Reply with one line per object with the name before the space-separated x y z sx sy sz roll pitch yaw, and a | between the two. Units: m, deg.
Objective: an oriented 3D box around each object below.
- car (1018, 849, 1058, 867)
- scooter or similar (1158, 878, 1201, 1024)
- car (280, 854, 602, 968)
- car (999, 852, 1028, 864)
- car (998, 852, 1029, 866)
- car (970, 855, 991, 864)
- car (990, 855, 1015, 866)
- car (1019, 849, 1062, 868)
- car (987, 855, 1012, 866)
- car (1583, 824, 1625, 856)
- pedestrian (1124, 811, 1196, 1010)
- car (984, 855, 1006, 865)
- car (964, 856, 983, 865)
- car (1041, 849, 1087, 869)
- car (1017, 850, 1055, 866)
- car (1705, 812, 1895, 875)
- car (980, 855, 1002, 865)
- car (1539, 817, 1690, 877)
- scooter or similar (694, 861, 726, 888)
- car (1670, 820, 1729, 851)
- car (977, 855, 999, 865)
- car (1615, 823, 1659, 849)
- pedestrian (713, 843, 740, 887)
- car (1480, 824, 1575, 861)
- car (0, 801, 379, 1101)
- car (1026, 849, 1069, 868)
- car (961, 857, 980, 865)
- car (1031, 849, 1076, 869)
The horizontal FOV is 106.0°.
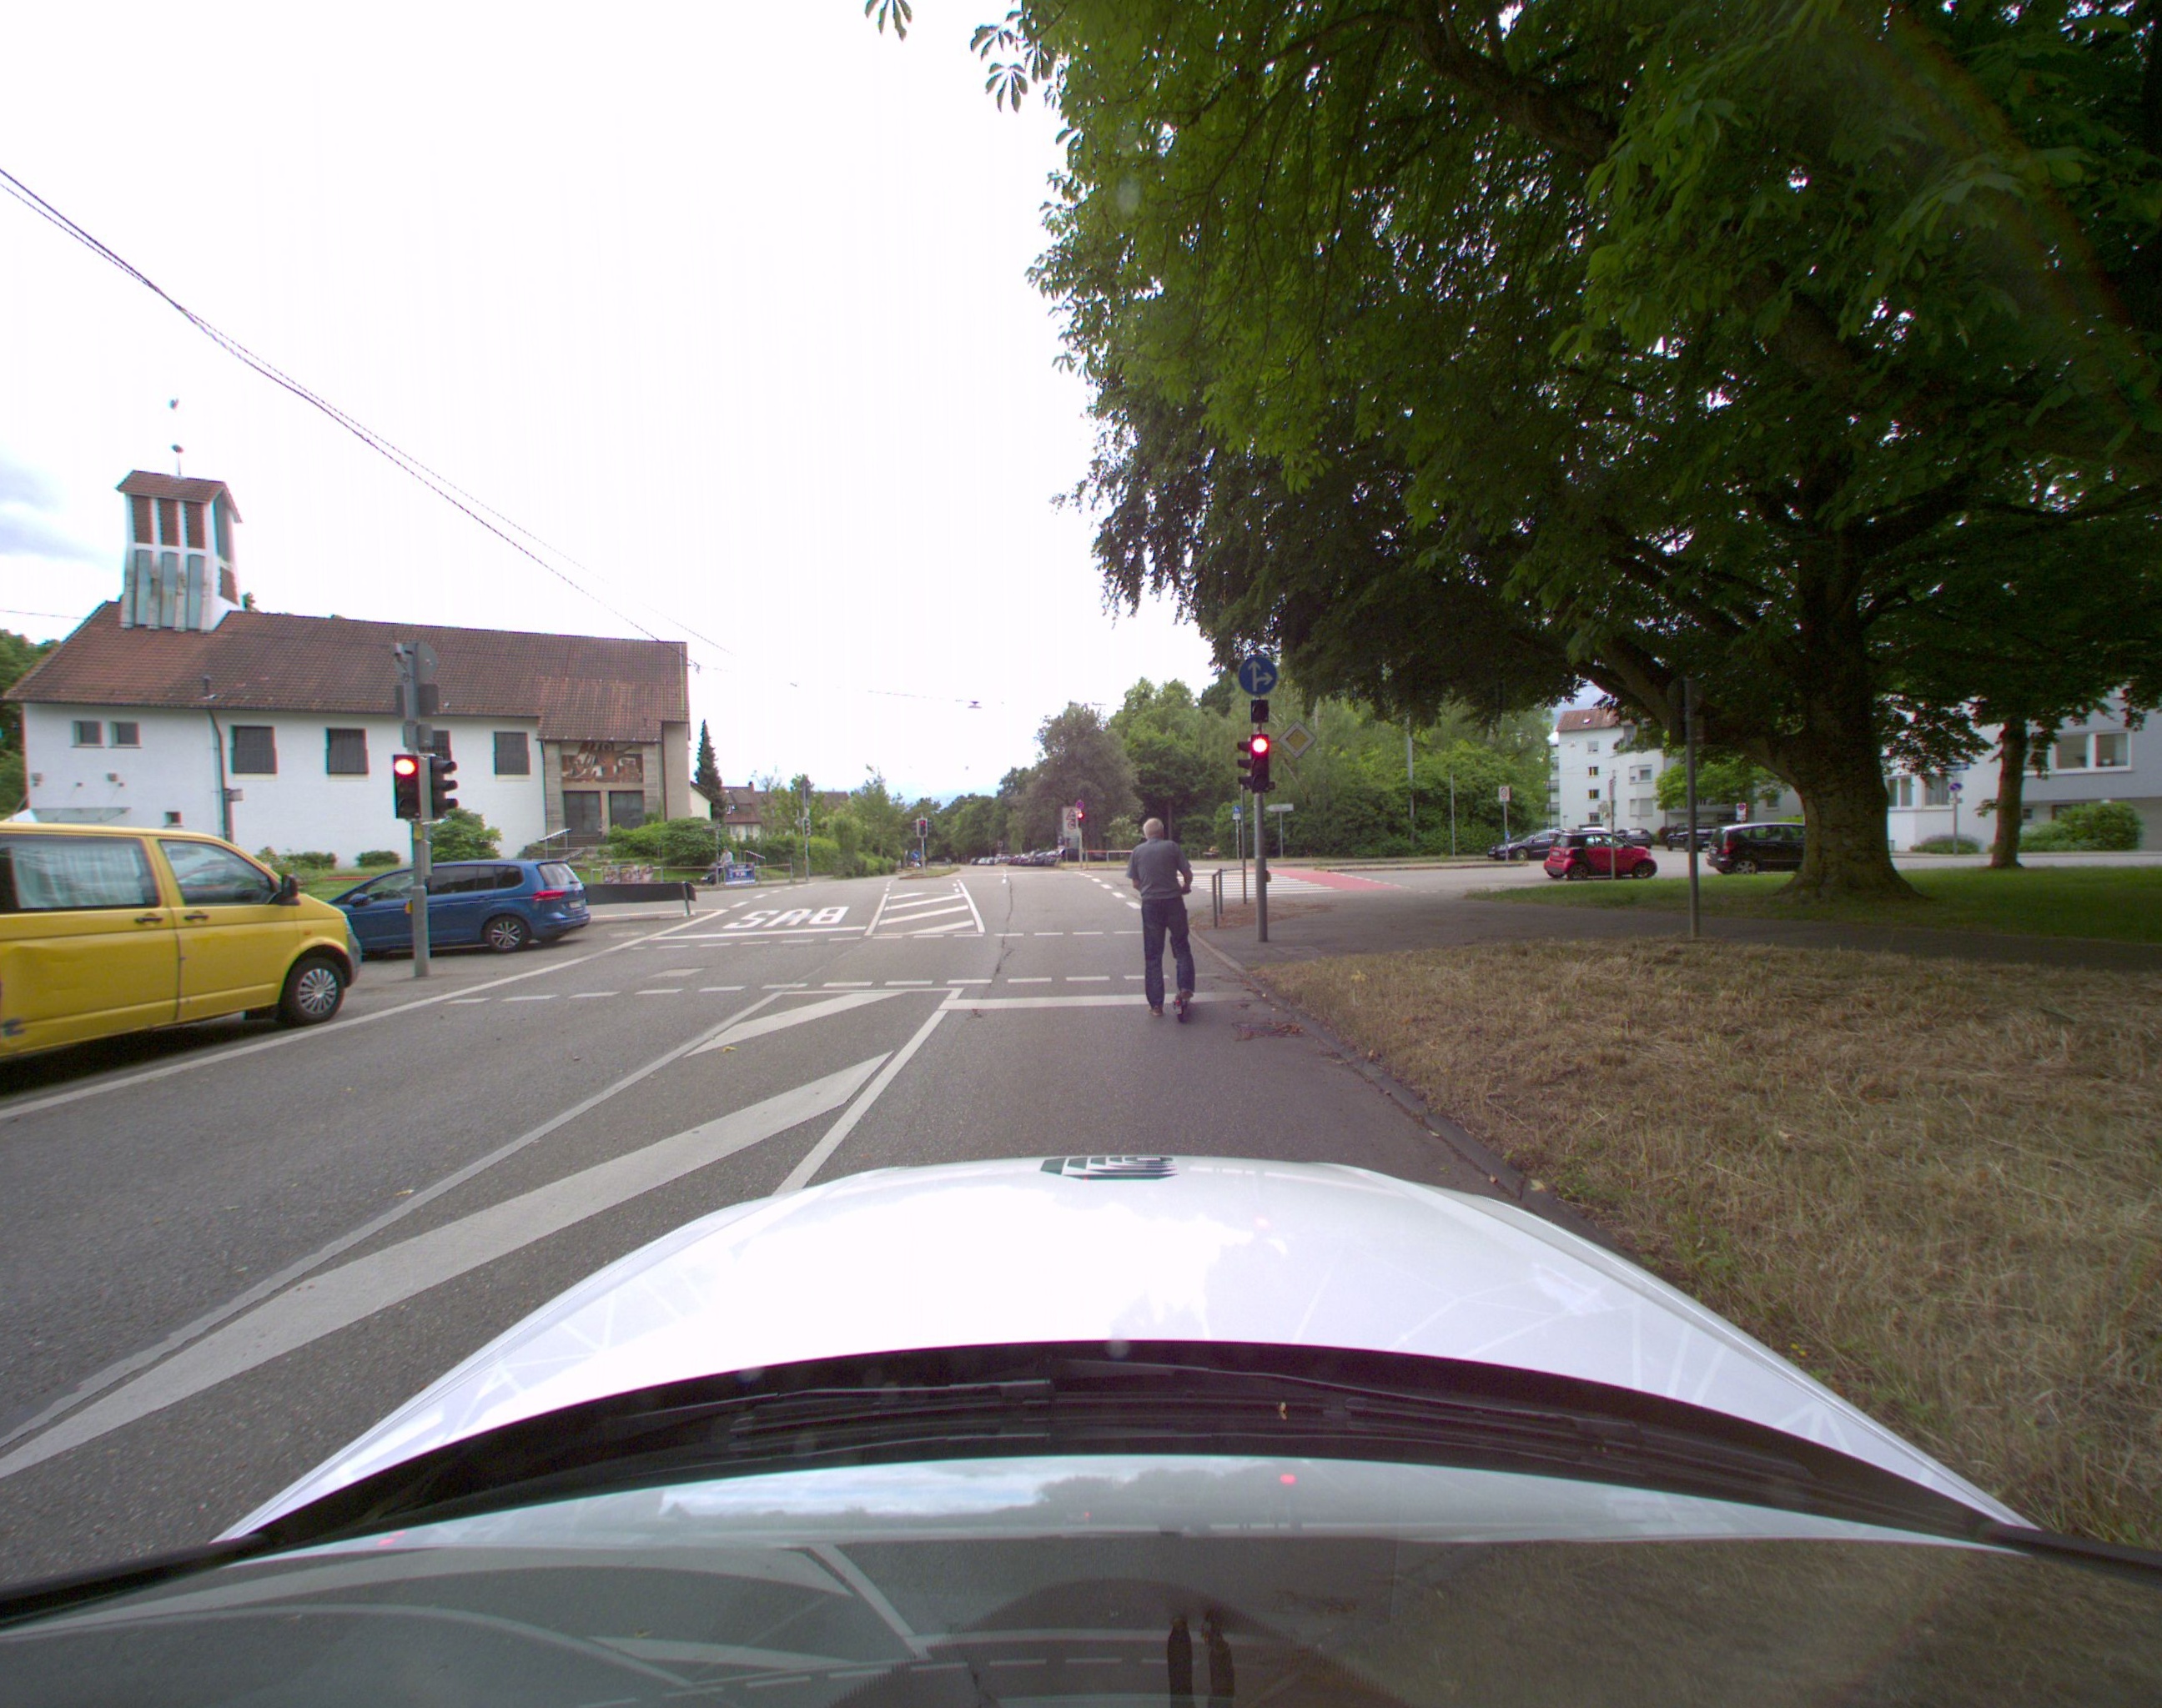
car | -4.609 0.425 86.952 3.856 1.610 1.716 -3 0 -21
scooter or similar | 0.918 0.841 7.494 0.280 1.178 1.180 -2 0 10
car | -11.065 0.916 14.424 3.992 1.610 1.810 -3 0 -14
car | -10.138 0.634 122.352 3.856 1.610 1.716 -3 0 -21
car | -9.063 0.681 109.348 3.856 1.610 1.716 -3 0 -21
car | -20.518 1.153 166.576 3.856 1.610 1.716 -3 0 -21
car | -13.405 1.134 139.637 3.856 1.610 1.716 -3 0 -21
car | -4.057 0.448 81.621 3.856 1.610 1.716 -3 0 -21
car | -14.345 1.142 143.337 3.856 1.610 1.716 -3 0 -21
car | 28.782 -0.788 44.896 1.706 1.610 3.878 -3 1 30
pedestrian | 0.755 0.521 7.674 0.569 1.813 0.421 -2 0 10
car | -16.362 1.171 154.698 3.856 1.610 1.716 -3 0 -21
car | -23.337 1.446 176.443 3.856 1.610 1.716 -3 0 -21
car | -1.589 0.435 75.010 3.854 1.610 1.717 -3 0 -19
car | -4.941 0.431 89.374 3.856 1.610 1.716 -3 0 -21
car | 20.830 -0.296 23.803 3.805 1.610 1.739 -3 1 27
car | -17.340 1.133 156.856 3.856 1.610 1.716 -3 0 -21
car | 16.523 -0.208 25.360 3.499 1.610 1.732 -3 0 7
scooter or similar | -15.866 0.874 34.835 0.571 1.081 1.117 -2 0 20
car | 35.564 -1.069 46.931 1.707 1.610 3.875 -3 1 22
car | -18.166 1.139 159.449 3.856 1.610 1.716 -3 0 -21
car | 38.949 -1.277 57.142 1.707 1.610 3.875 -3 1 22
pedestrian | -15.567 0.470 35.761 0.568 1.862 0.891 -2 0 20
car | 21.107 -0.560 38.604 3.498 1.530 1.732 -3 0 8
car | -8.300 0.683 6.339 1.880 2.013 4.558 -2 0 -5
car | -3.286 0.473 79.565 3.856 1.610 1.716 -3 0 -21
car | -24.251 1.537 178.803 3.856 1.610 1.716 -3 0 -21
car | -2.599 0.462 77.006 3.857 1.610 1.715 -3 1 -22
